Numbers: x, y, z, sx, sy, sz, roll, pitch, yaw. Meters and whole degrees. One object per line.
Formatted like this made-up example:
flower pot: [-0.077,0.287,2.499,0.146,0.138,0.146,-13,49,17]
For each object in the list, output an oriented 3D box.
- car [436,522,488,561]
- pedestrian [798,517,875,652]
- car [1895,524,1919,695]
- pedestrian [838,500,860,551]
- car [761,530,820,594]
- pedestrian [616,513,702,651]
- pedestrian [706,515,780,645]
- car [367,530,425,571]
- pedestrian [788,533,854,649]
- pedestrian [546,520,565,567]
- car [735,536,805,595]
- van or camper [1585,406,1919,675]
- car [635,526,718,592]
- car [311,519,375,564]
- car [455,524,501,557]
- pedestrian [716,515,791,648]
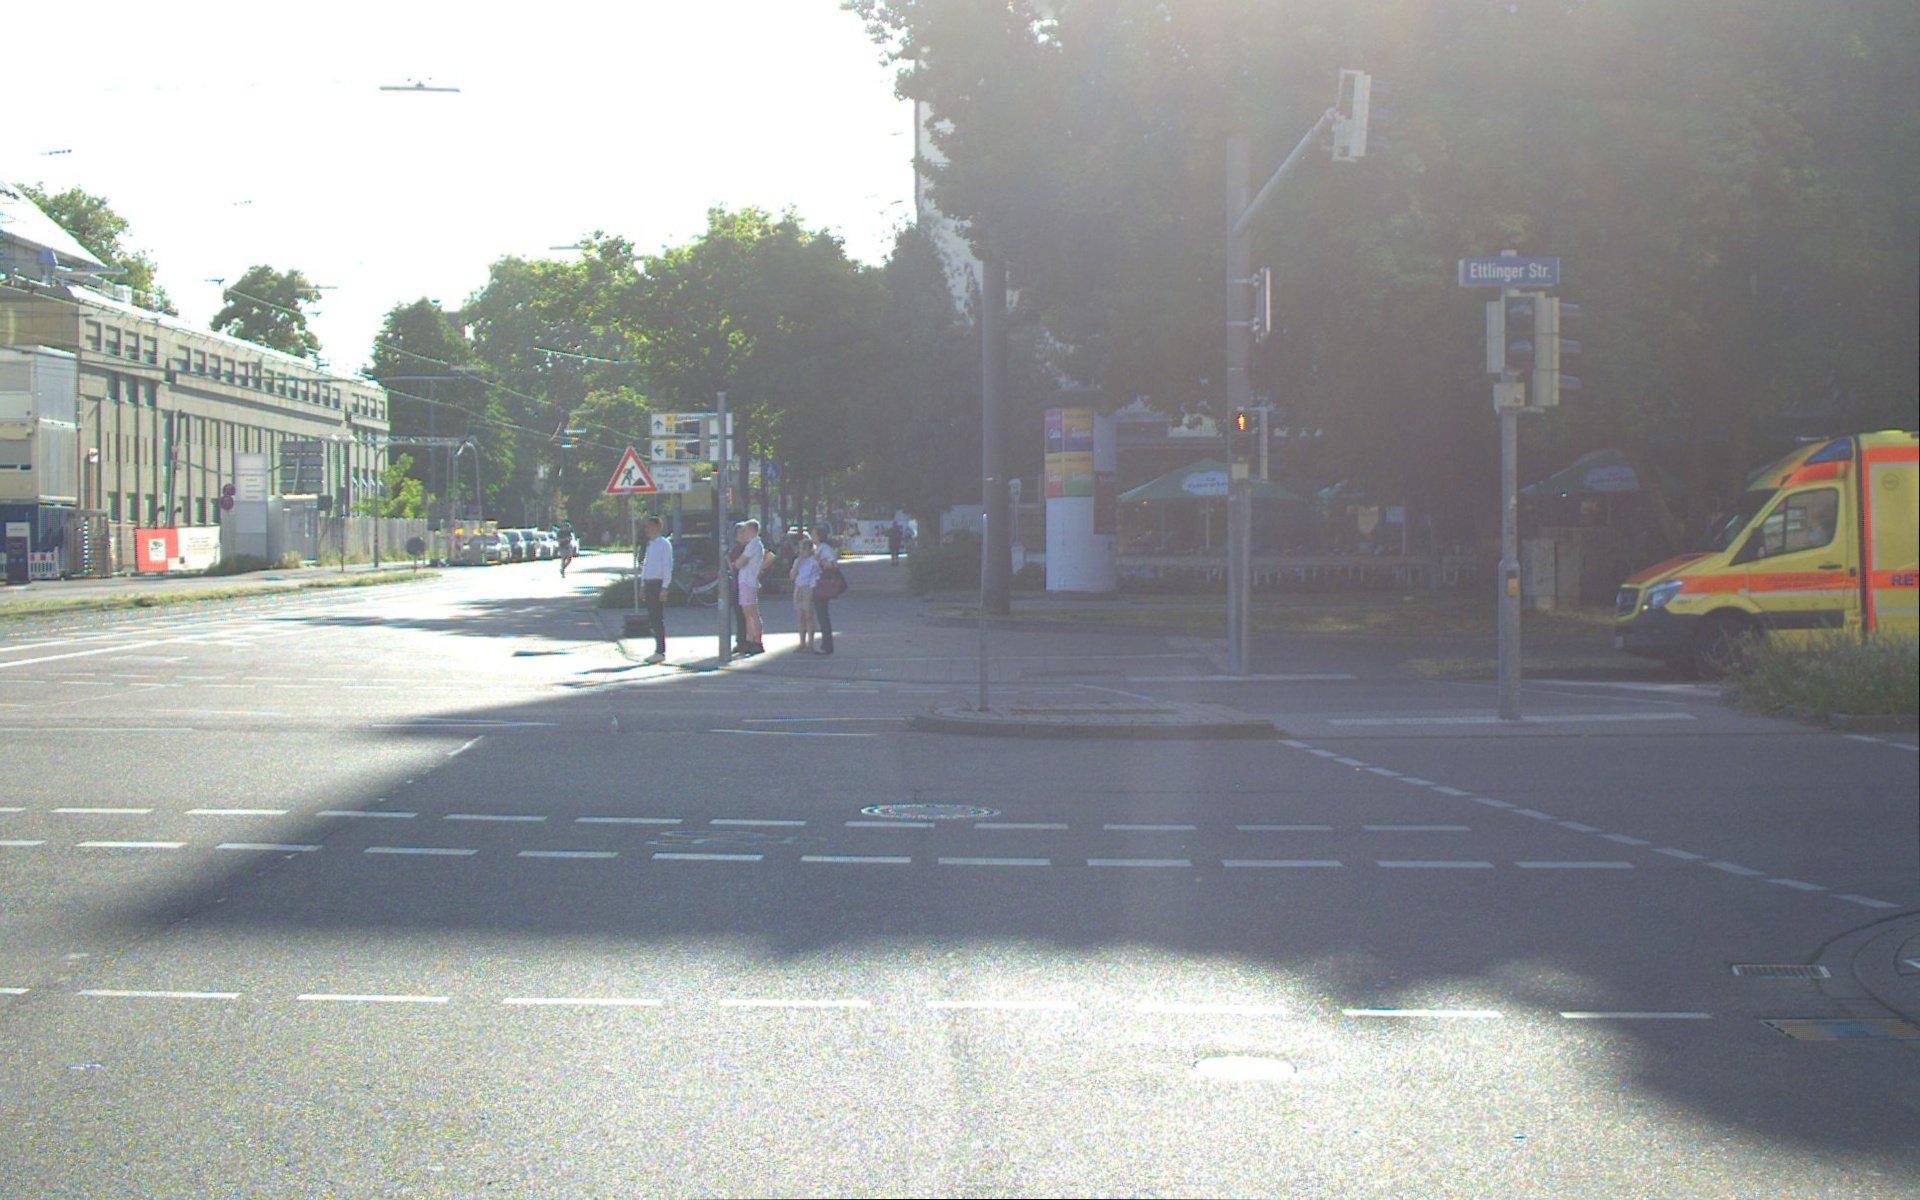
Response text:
car: [-22.566,-2.649,155.918,1.819,1.706,3.806,0,1,-1]
pedestrian: [-1.658,-0.211,45.957,0.847,1.778,0.780,-1,1,-17]
car: [11.390,0.145,32.944,4.314,1.641,1.888,1,0,0]
pedestrian: [-7.952,-5.343,246.069,1.401,3.584,1.568,1,0,-1]
car: [-5.295,-1.175,107.616,1.684,1.955,3.509,1,0,-1]
pedestrian: [-3.934,-0.242,44.939,0.965,1.778,0.780,-1,1,-17]
pedestrian: [-2.997,-0.282,47.356,0.847,1.778,0.780,-1,1,-17]
car: [-23.659,-2.082,144.229,1.819,1.706,3.806,0,1,-1]
pedestrian: [-1.892,-0.129,46.641,0.762,1.553,0.588,-1,1,-17]
pedestrian: [-12.944,-1.810,110.074,0.524,1.479,0.437,1,0,-2]
car: [-5.073,-0.914,92.004,1.684,1.495,3.509,1,0,-1]
van or camper: [10.612,-0.607,38.676,6.709,2.852,2.910,1,0,4]
car: [-6.722,-0.959,81.846,1.684,1.495,3.509,1,0,-1]
car: [-23.937,-2.289,133.449,1.819,1.706,3.806,0,1,-1]
car: [-22.430,-2.763,160.000,1.609,1.493,3.806,0,1,-1]
pedestrian: [-2.796,-0.255,46.545,0.847,1.778,0.780,-1,1,-17]
